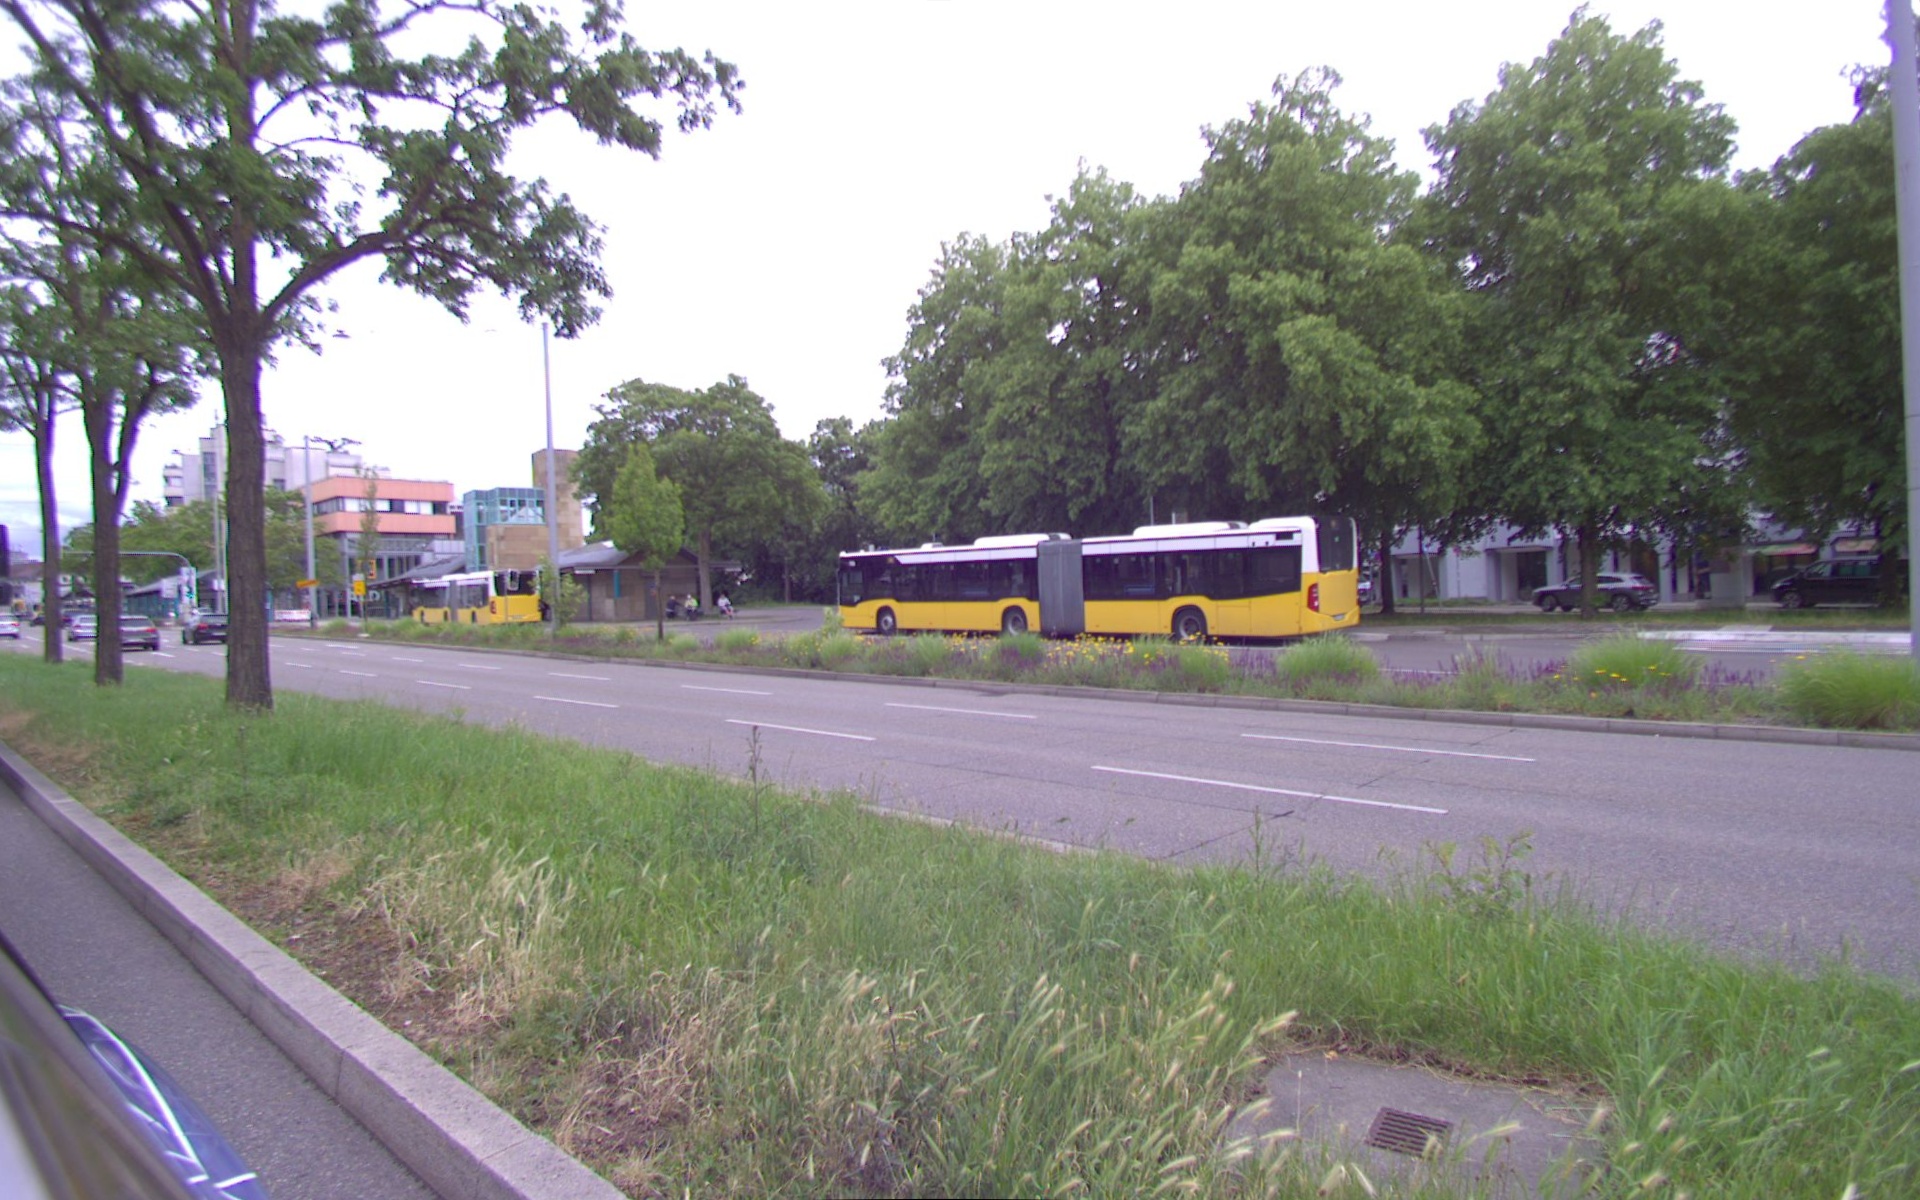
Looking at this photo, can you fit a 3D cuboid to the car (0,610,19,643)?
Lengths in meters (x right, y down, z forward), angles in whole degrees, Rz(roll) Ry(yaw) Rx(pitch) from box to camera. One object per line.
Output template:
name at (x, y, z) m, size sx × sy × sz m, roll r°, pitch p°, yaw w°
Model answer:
car at (-59.973, 1.672, 63.015) m, size 4.000 × 2.029 × 1.703 m, roll -1°, pitch 0°, yaw 43°

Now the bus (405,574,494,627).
bus at (-31.504, 0.068, 62.216) m, size 2.846 × 3.025 × 9.191 m, roll -1°, pitch 0°, yaw -40°

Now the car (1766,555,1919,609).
car at (33.143, -0.636, 37.783) m, size 1.758 × 1.861 × 4.429 m, roll -1°, pitch 0°, yaw -35°

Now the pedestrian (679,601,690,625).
pedestrian at (-13.697, 0.634, 50.324) m, size 0.361 × 1.175 × 0.900 m, roll -1°, pitch 0°, yaw -23°

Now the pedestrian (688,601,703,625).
pedestrian at (-13.204, 0.628, 50.514) m, size 0.589 × 1.171 × 0.745 m, roll -1°, pitch 0°, yaw -23°

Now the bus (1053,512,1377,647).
bus at (6.377, -0.424, 26.478) m, size 2.849 × 3.025 × 7.889 m, roll -1°, pitch 0°, yaw -44°

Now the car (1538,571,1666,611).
car at (25.780, -0.335, 40.751) m, size 1.731 × 1.524 × 4.009 m, roll -1°, pitch 0°, yaw -36°

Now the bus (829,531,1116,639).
bus at (0.013, -0.351, 33.079) m, size 2.848 × 3.025 × 10.401 m, roll -1°, pitch 0°, yaw -44°

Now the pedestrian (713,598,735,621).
pedestrian at (-11.905, 0.473, 51.105) m, size 0.924 × 1.180 × 0.641 m, roll -1°, pitch 0°, yaw 41°

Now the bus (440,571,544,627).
bus at (-25.695, 0.000, 55.254) m, size 2.846 × 2.830 × 9.191 m, roll -1°, pitch 0°, yaw -40°

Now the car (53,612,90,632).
car at (-75.404, 1.885, 85.904) m, size 3.998 × 1.624 × 1.822 m, roll -1°, pitch 0°, yaw 41°

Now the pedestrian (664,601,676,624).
pedestrian at (-14.905, 0.621, 52.056) m, size 0.590 × 1.171 × 0.745 m, roll -1°, pitch 0°, yaw -15°
